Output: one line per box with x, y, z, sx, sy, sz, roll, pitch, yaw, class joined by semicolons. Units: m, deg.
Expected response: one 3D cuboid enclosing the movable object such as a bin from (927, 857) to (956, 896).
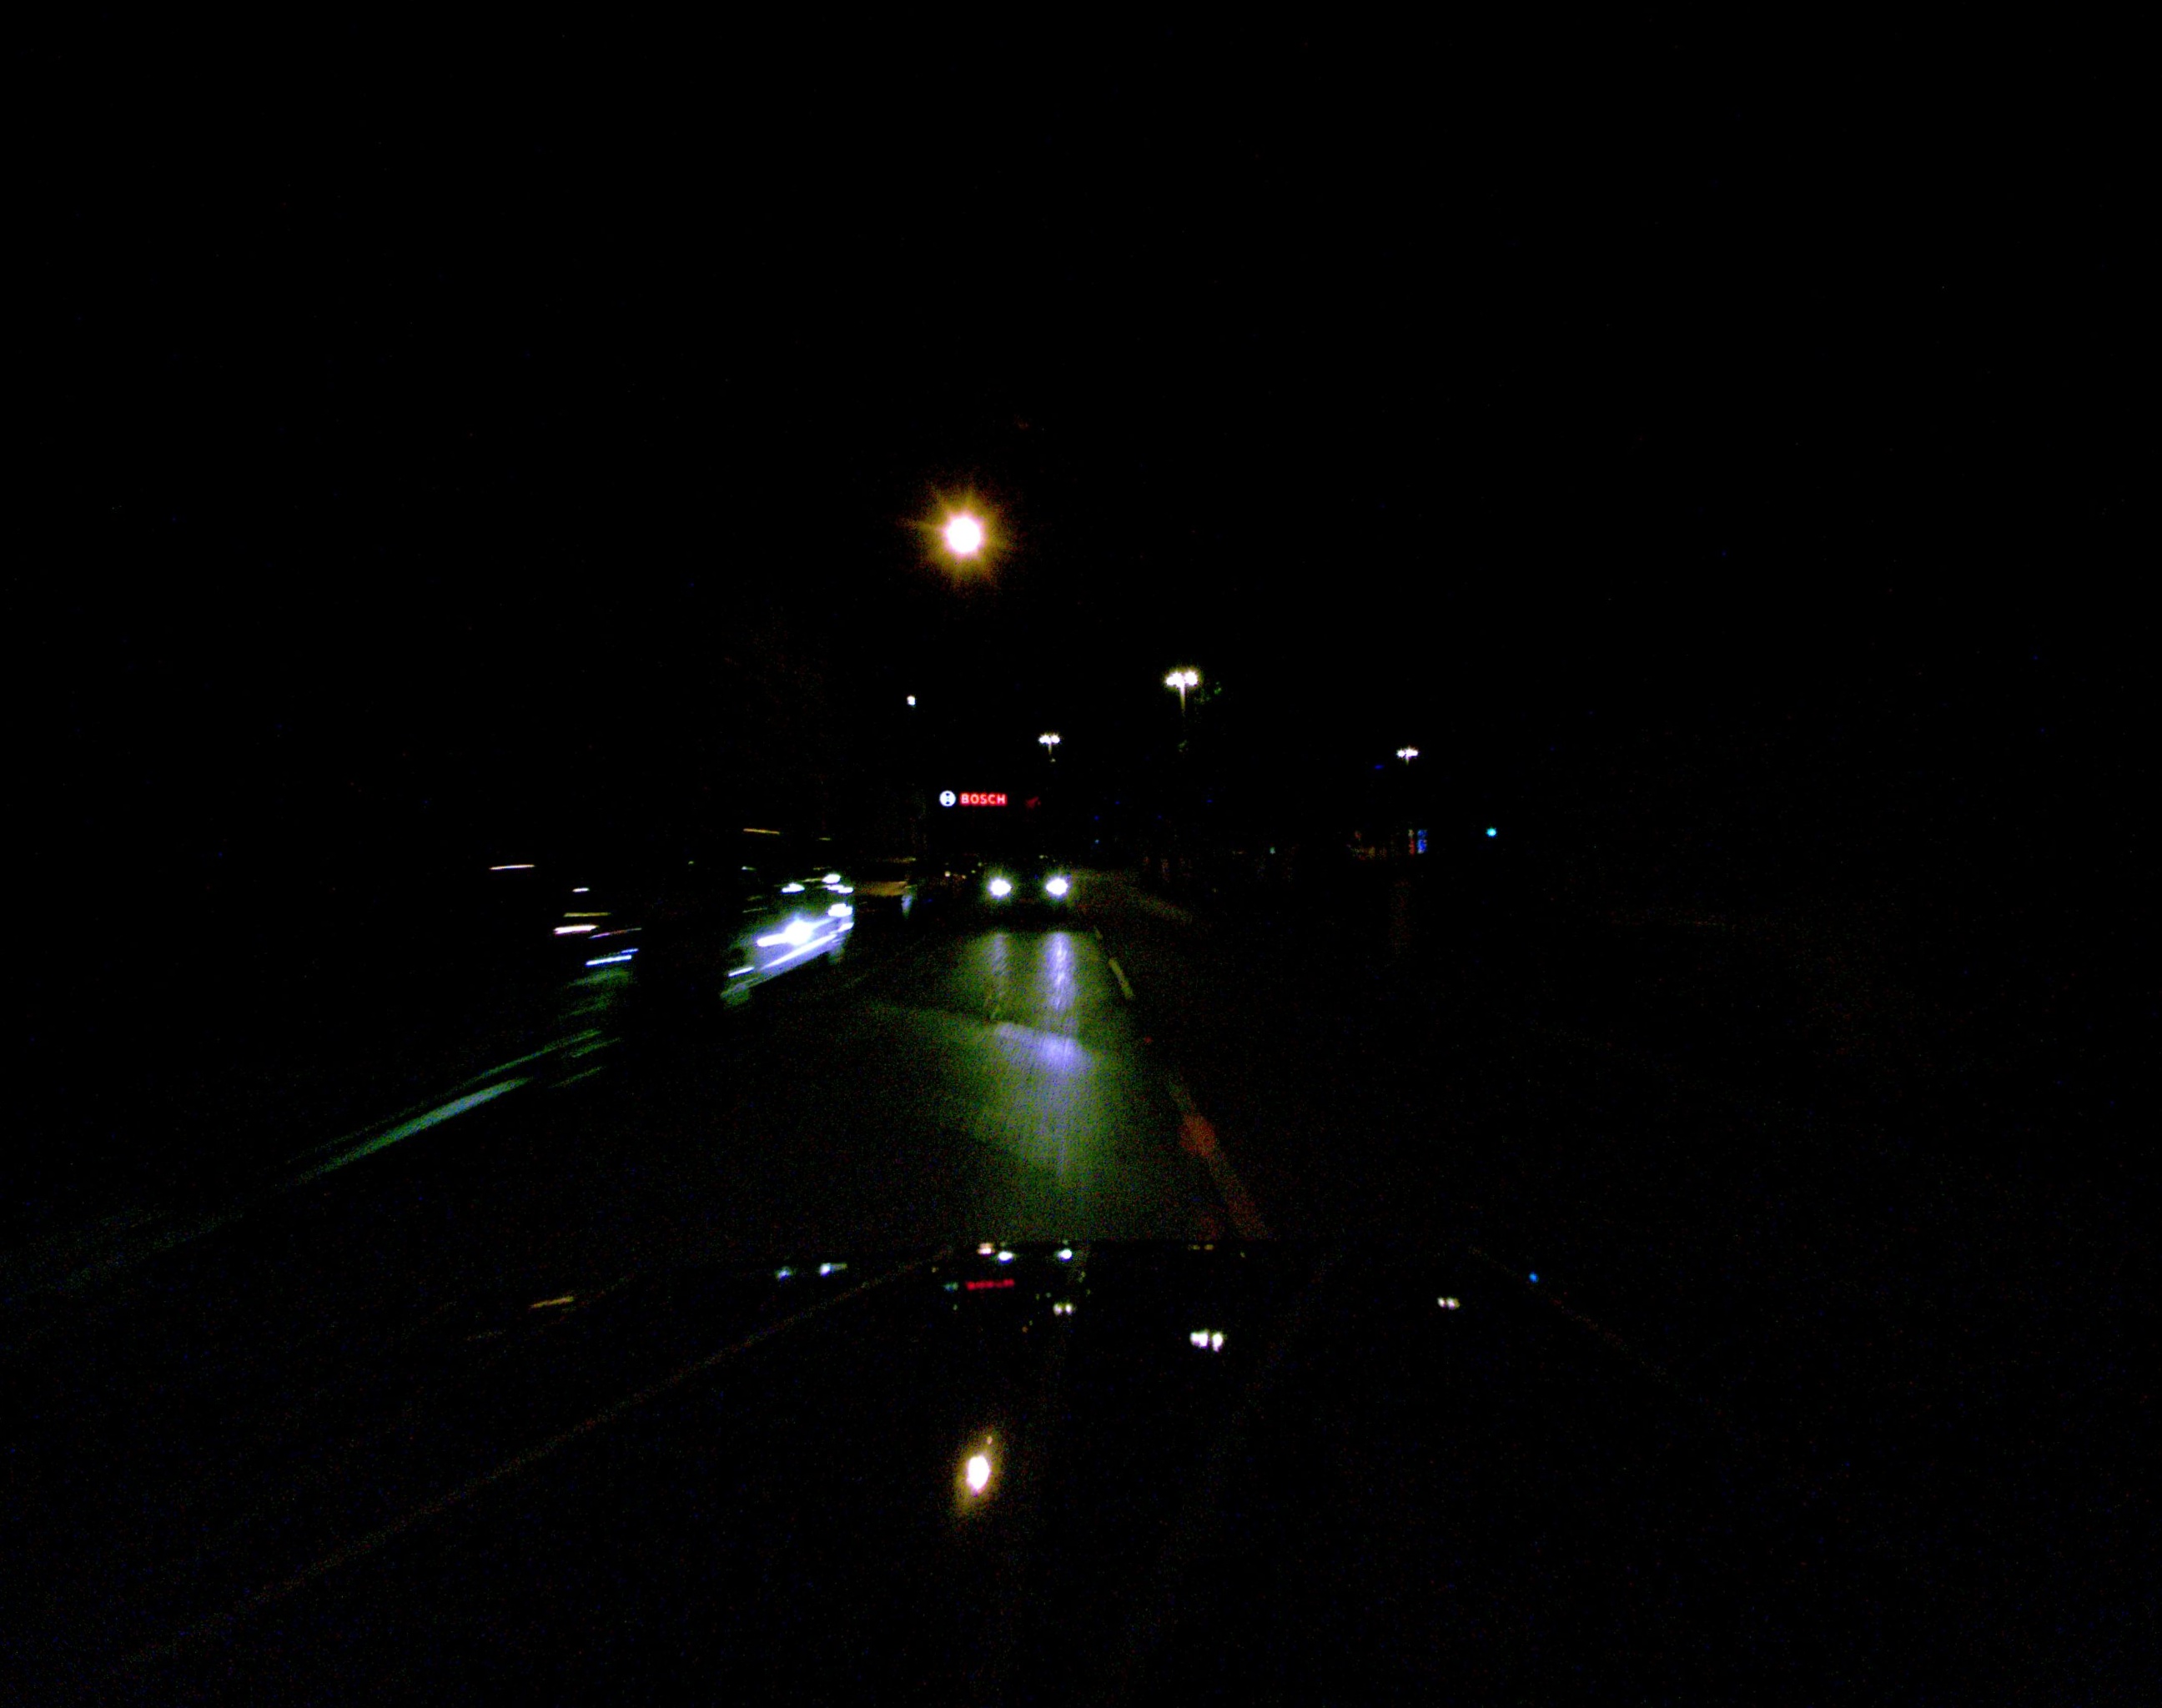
-5.348;0.832;29.121;0.940;1.424;1.338;1;1;-5;movable object such as a bin

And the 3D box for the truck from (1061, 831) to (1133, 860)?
2.150;-1.103;101.552;9.341;3.701;2.002;0;1;14;truck

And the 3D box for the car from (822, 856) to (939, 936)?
-4.500;0.871;17.699;1.748;1.557;4.209;1;1;-2;car

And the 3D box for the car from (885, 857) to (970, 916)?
-4.486;0.884;22.908;1.748;1.500;4.831;1;1;-2;car

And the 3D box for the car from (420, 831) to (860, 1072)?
-4.297;0.753;8.761;2.078;1.917;5.368;1;1;-2;car

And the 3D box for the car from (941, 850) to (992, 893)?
-4.924;0.712;33.178;1.748;1.673;4.256;1;1;-2;car

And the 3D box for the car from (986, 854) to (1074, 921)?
-1.246;0.809;20.268;1.998;1.607;4.000;0;0;1;car

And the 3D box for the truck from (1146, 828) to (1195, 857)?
11.842;-1.505;99.941;6.197;3.673;2.403;-1;1;11;truck

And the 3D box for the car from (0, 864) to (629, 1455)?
-4.154;0.928;3.485;1.824;1.590;4.218;2;1;-4;car
